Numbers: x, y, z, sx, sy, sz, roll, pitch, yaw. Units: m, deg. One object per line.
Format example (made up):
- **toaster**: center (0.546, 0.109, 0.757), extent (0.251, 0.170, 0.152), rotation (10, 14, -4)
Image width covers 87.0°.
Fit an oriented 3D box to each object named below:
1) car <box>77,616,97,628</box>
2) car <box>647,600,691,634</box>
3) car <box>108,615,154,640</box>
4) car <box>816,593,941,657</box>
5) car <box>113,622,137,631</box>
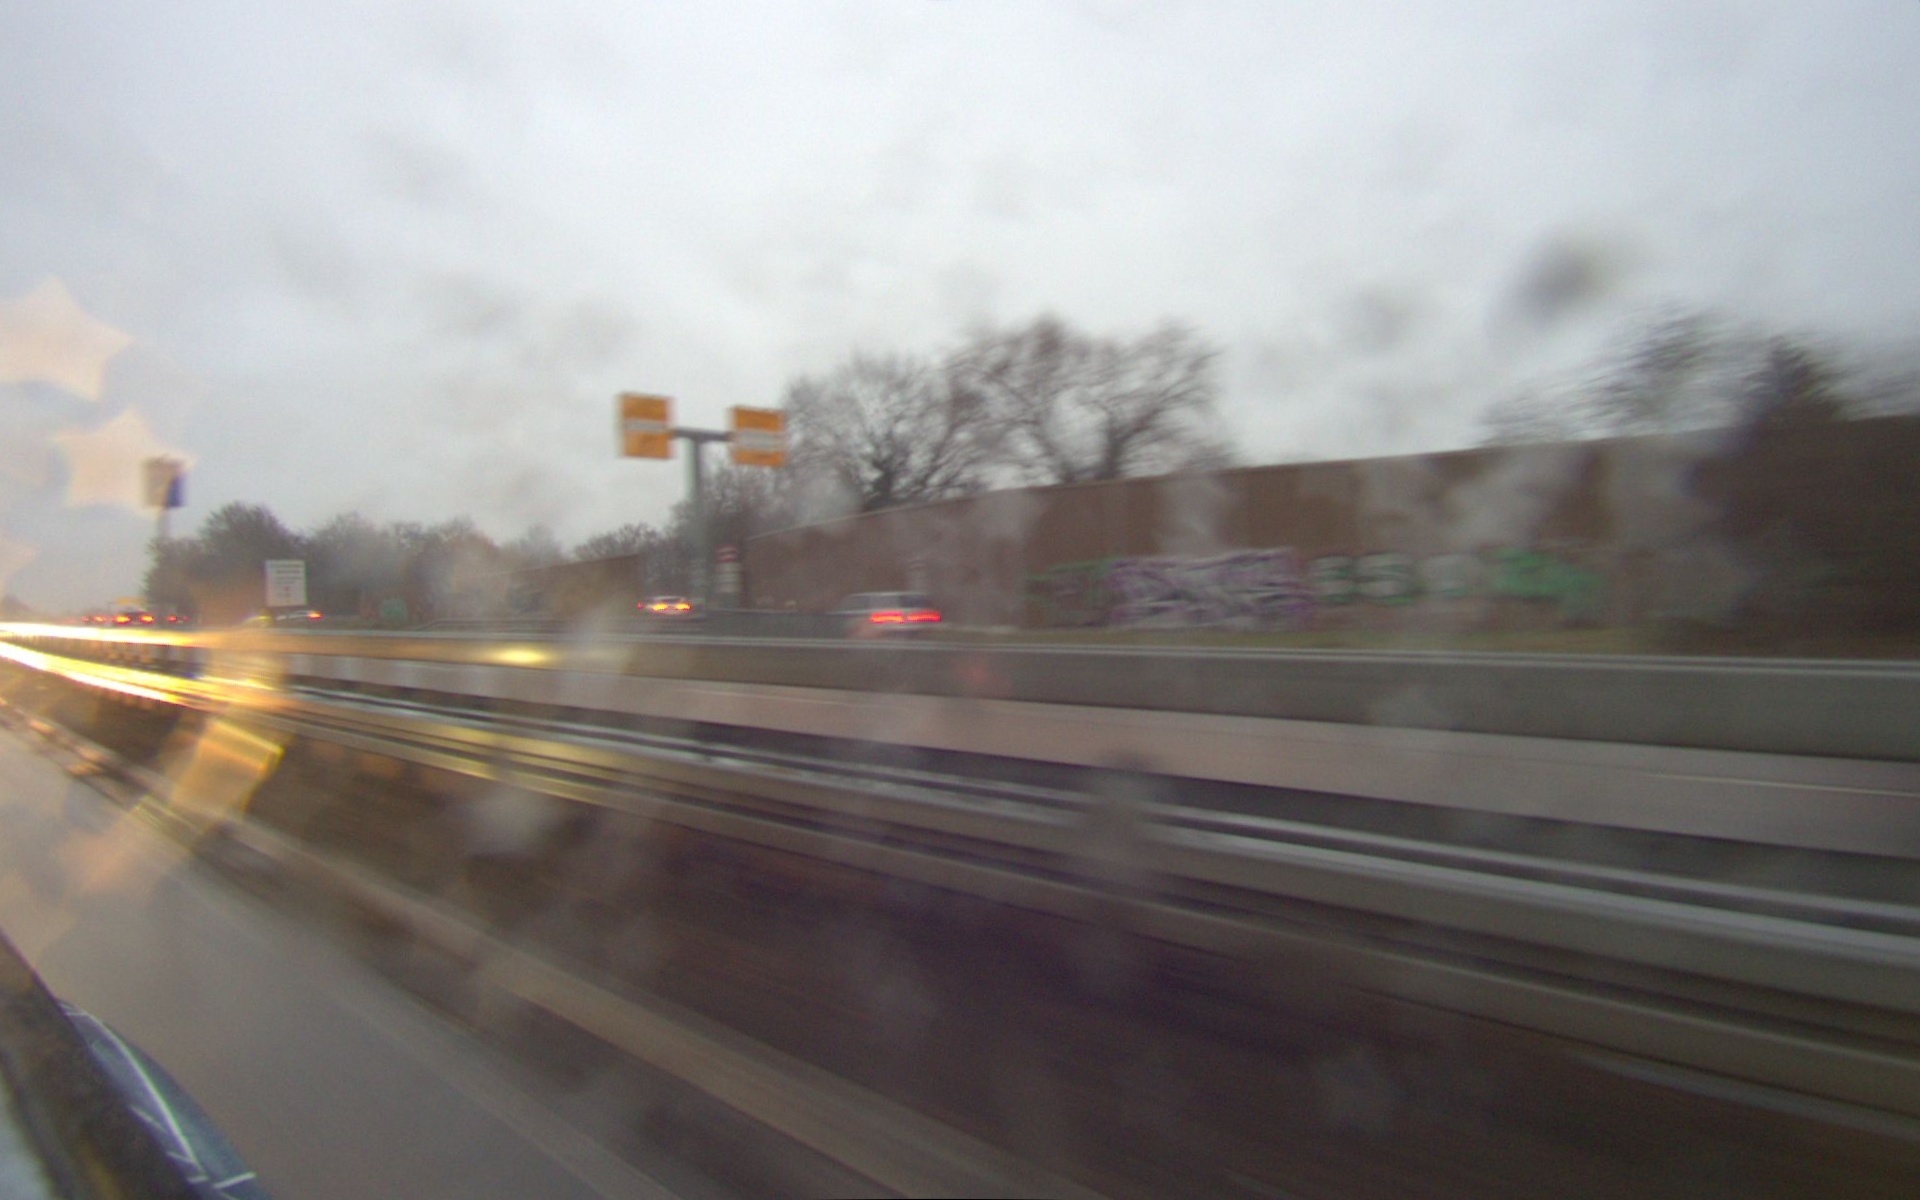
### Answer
- **car**: center (-109.390, 2.751, 126.800), extent (3.683, 1.452, 1.678), rotation (-1, 0, 45)
- **car**: center (-17.461, 0.979, 60.582), extent (1.965, 1.928, 4.460), rotation (-1, 0, -23)
- **car**: center (-55.385, 1.812, 67.555), extent (4.355, 1.567, 1.817), rotation (-1, 0, 43)
- **car**: center (-2.780, 0.781, 33.524), extent (1.968, 1.928, 4.454), rotation (-2, 0, -38)
- **car**: center (-115.668, 3.627, 140.156), extent (3.996, 1.170, 1.779), rotation (-1, 0, 39)
